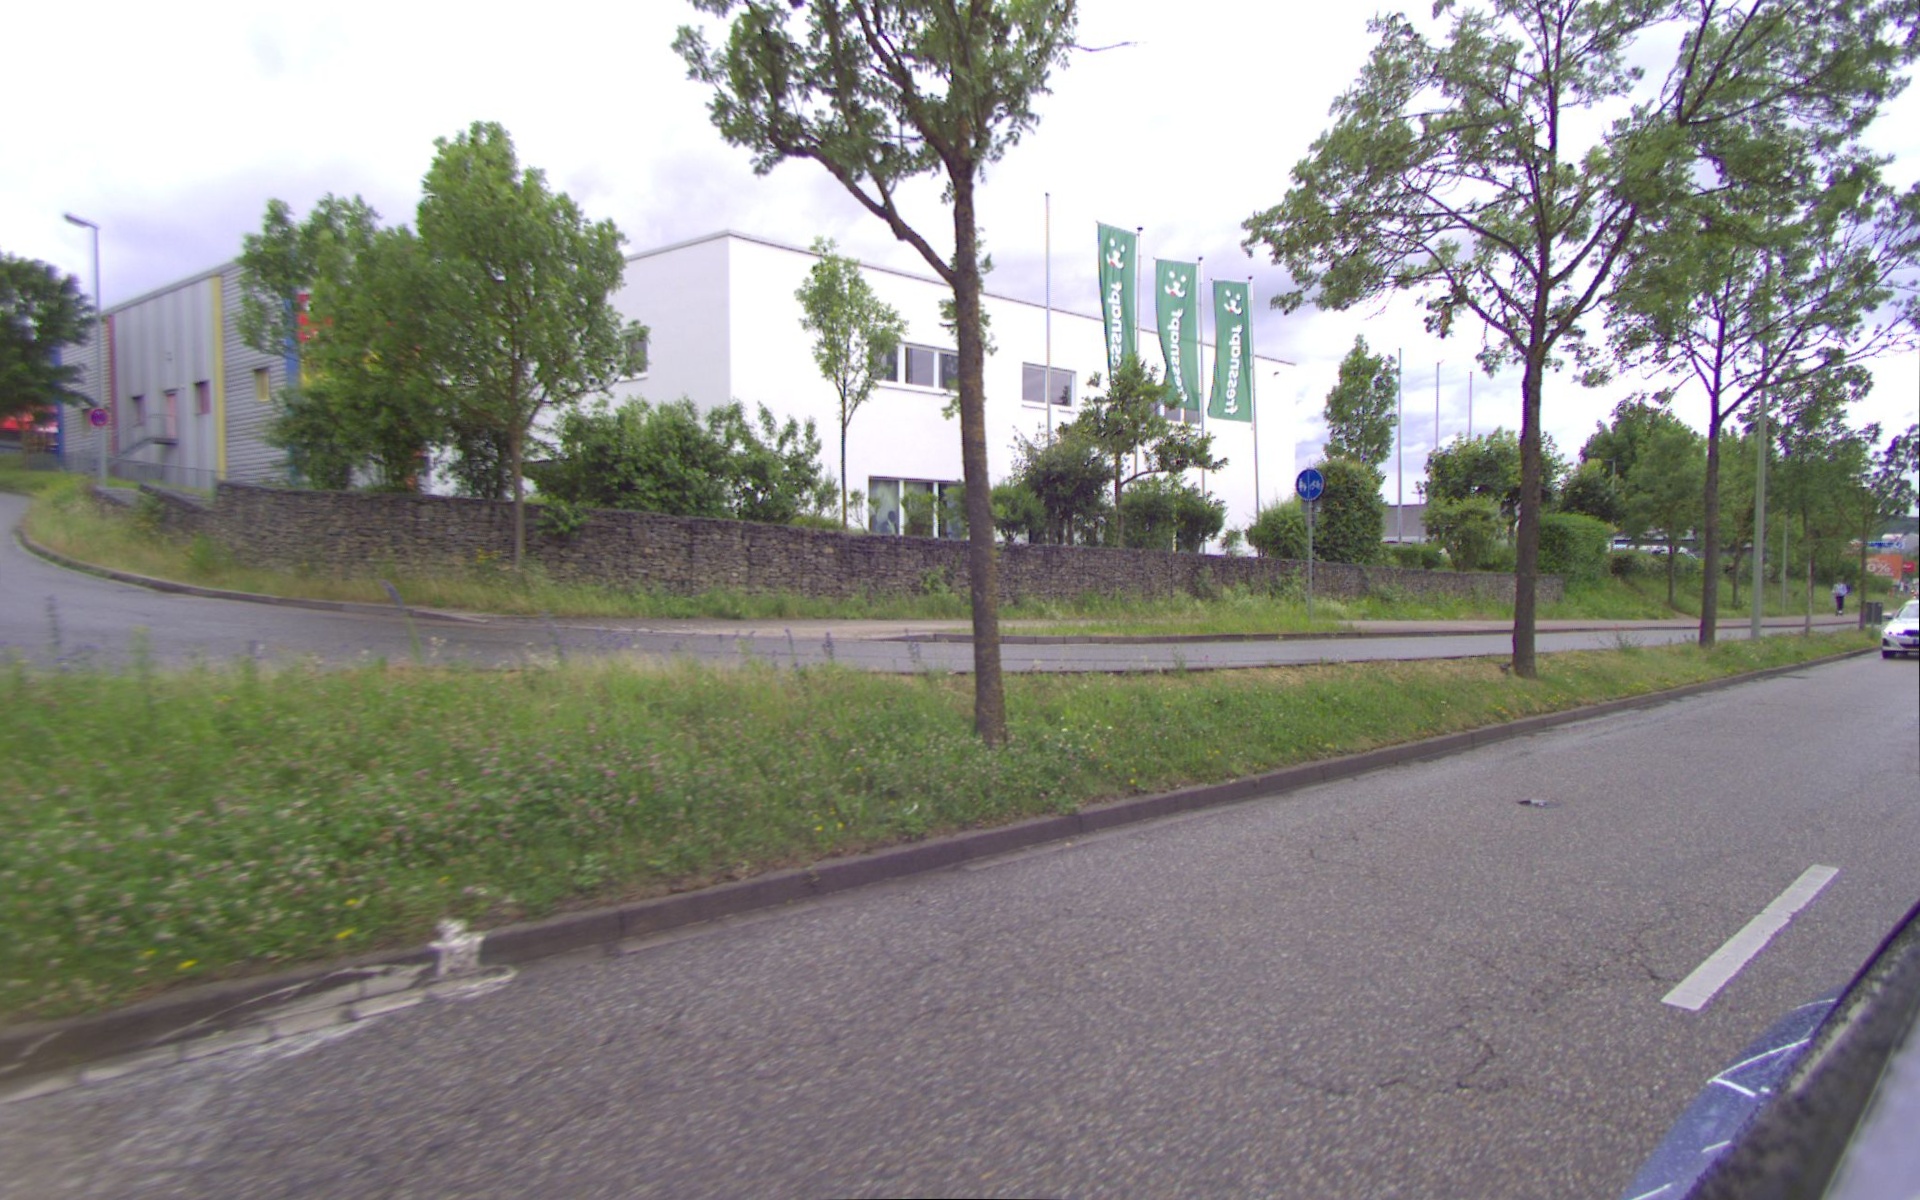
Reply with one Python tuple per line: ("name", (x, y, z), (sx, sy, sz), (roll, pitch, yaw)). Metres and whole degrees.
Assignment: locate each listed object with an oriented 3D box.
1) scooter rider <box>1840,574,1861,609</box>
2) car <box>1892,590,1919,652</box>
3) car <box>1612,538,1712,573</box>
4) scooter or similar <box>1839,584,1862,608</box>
("scooter rider", (49.111, -0.486, 55.808), (0.843, 1.842, 0.696), (-1, 4, -42))
("car", (24.980, 0.496, 25.278), (4.459, 1.458, 1.808), (-1, 1, -38))
("car", (50.305, -3.236, 72.612), (5.609, 2.167, 2.090), (6, 5, 42))
("scooter or similar", (49.136, -0.244, 55.842), (1.377, 1.279, 0.696), (-1, 4, -42))
